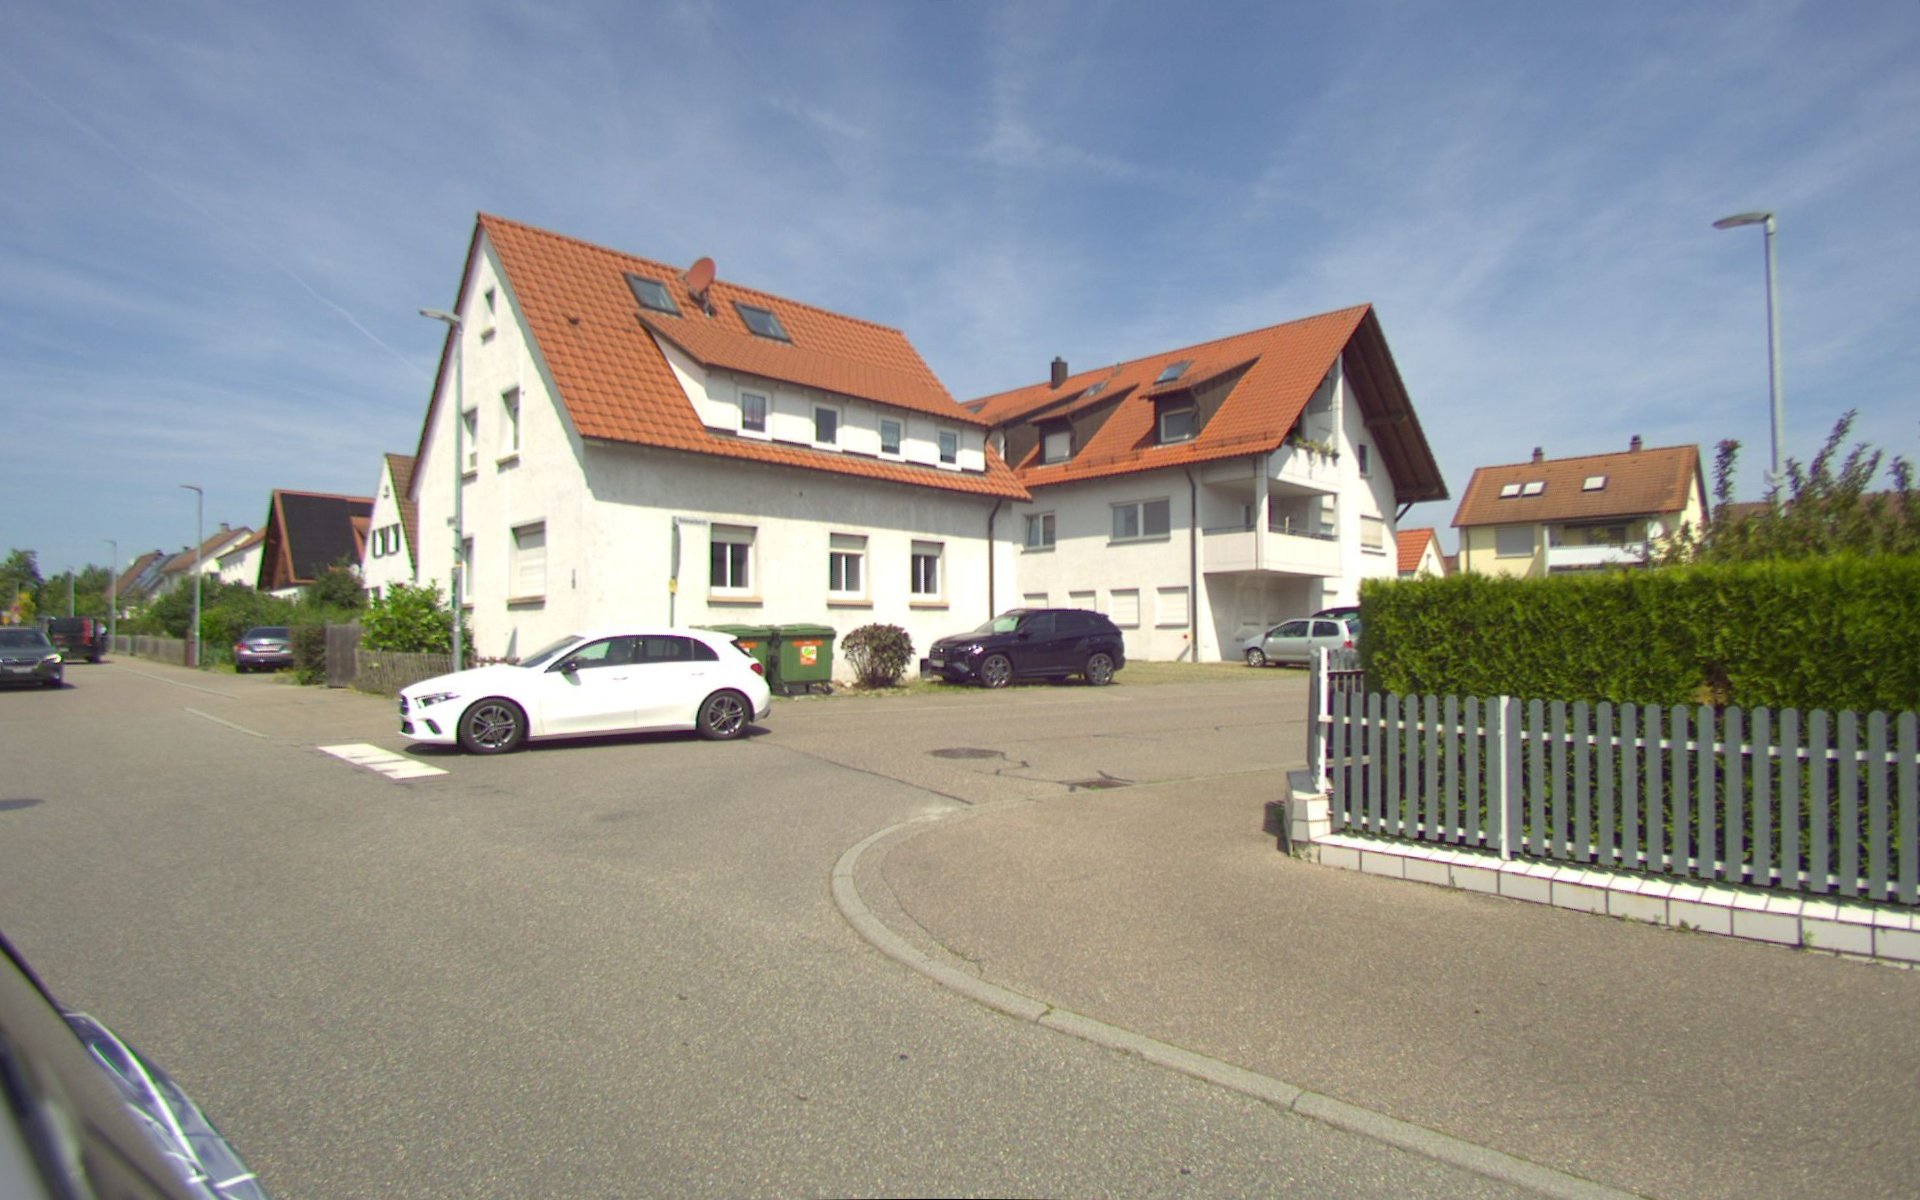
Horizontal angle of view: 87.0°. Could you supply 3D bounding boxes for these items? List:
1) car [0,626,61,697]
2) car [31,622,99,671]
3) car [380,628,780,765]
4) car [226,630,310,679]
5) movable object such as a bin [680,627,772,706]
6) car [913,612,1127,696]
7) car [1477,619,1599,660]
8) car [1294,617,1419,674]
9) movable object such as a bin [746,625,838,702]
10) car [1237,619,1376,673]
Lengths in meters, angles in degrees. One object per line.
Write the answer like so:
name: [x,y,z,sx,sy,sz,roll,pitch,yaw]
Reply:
car: [-24.146,1.512,25.481,4.322,1.660,1.814,-2,-2,42]
car: [-38.440,1.958,43.432,1.945,1.966,4.699,1,-2,-44]
car: [-4.690,1.080,12.645,4.417,1.408,1.935,0,-2,-30]
car: [-22.601,1.725,33.202,1.801,1.443,4.577,0,-2,-28]
movable object such as a bin: [-4.196,1.160,18.136,1.246,1.323,1.169,0,-1,-36]
car: [1.297,1.074,21.484,4.204,1.559,1.796,0,2,-28]
car: [21.292,1.430,37.337,3.662,1.400,1.444,-2,-1,43]
car: [11.323,1.265,29.025,1.211,1.536,3.132,1,-1,-41]
movable object such as a bin: [-3.168,1.154,19.003,1.246,1.346,1.316,0,-1,-36]
car: [9.438,1.246,27.755,1.310,1.410,3.380,2,-3,-44]
